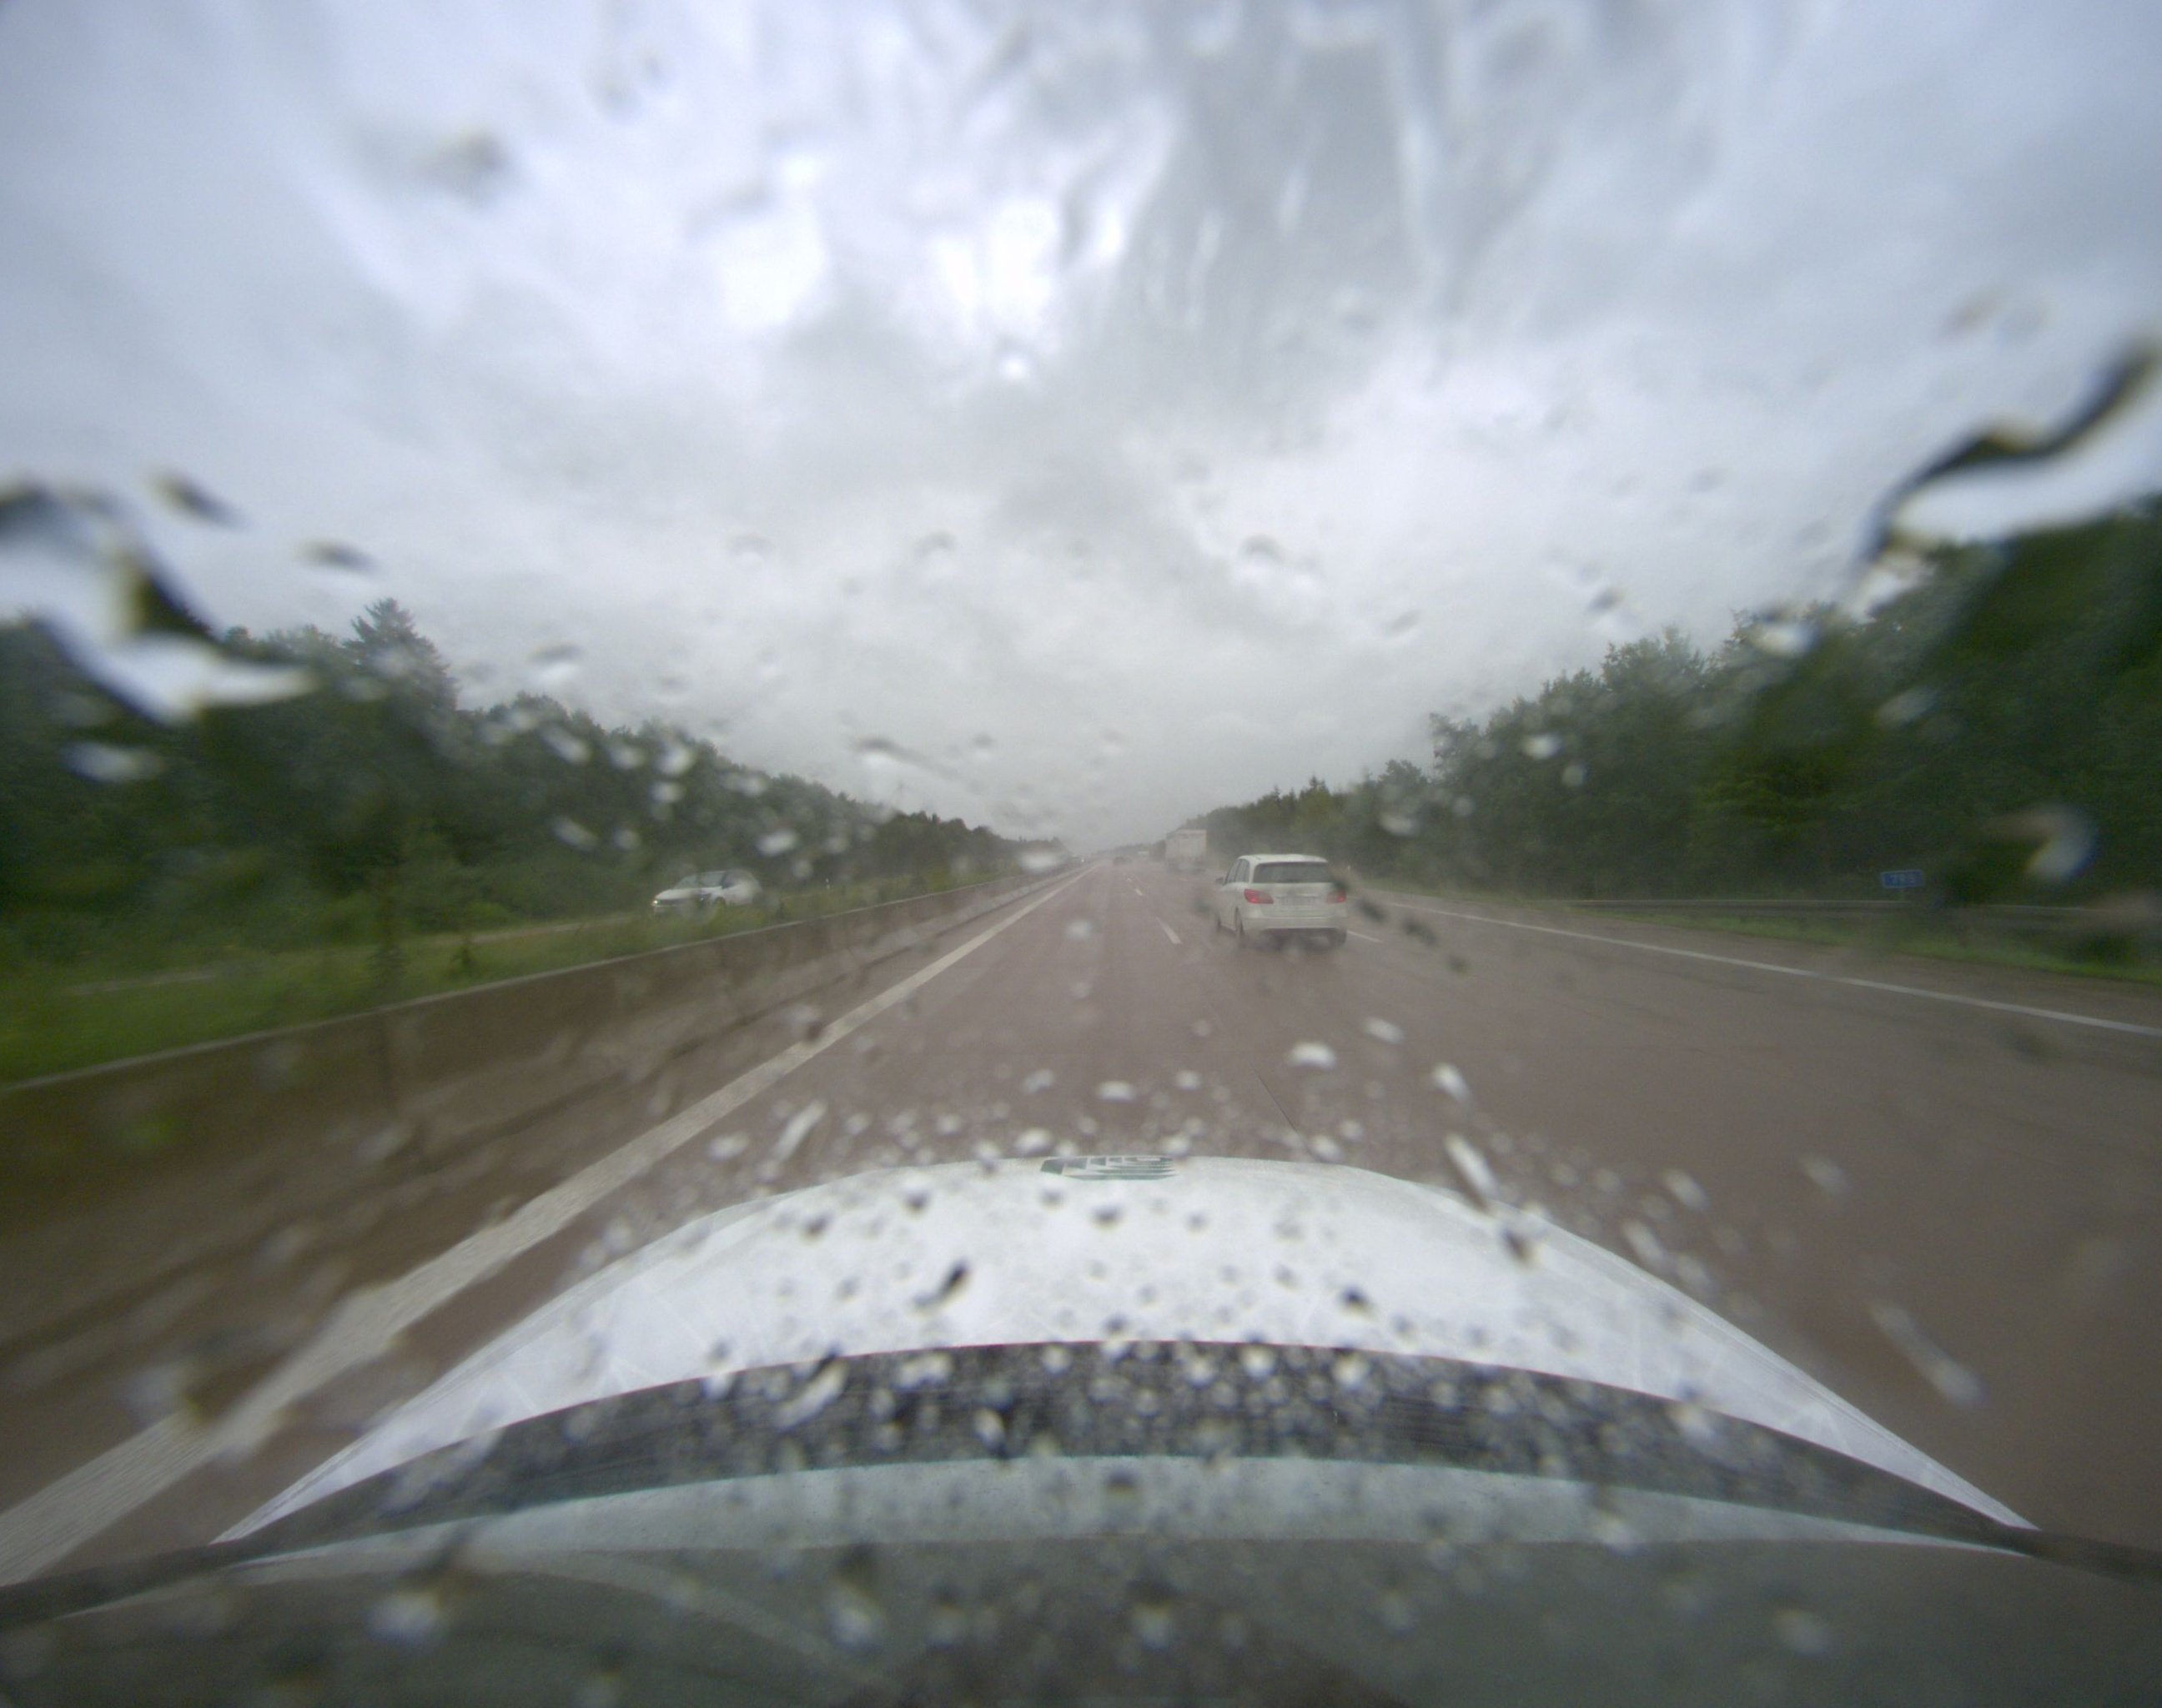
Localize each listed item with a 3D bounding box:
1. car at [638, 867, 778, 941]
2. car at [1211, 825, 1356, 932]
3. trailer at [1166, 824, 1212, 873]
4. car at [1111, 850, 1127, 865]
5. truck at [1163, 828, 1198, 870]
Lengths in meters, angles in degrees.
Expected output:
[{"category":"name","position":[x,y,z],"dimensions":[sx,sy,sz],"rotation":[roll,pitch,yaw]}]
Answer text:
[{"category":"car","position":[-11.561,1.472,25.689],"dimensions":[2.081,2.014,4.800],"rotation":[-1,0,1]},{"category":"car","position":[3.638,0.408,15.497],"dimensions":[1.801,1.728,4.746],"rotation":[0,0,3]},{"category":"trailer","position":[10.233,-0.523,78.492],"dimensions":[2.842,4.231,13.135],"rotation":[-3,0,1]},{"category":"car","position":[5.274,0.537,113.514],"dimensions":[2.165,1.981,4.132],"rotation":[1,0,2]},{"category":"truck","position":[10.418,-0.556,85.793],"dimensions":[2.870,4.106,6.351],"rotation":[-3,0,2]}]
